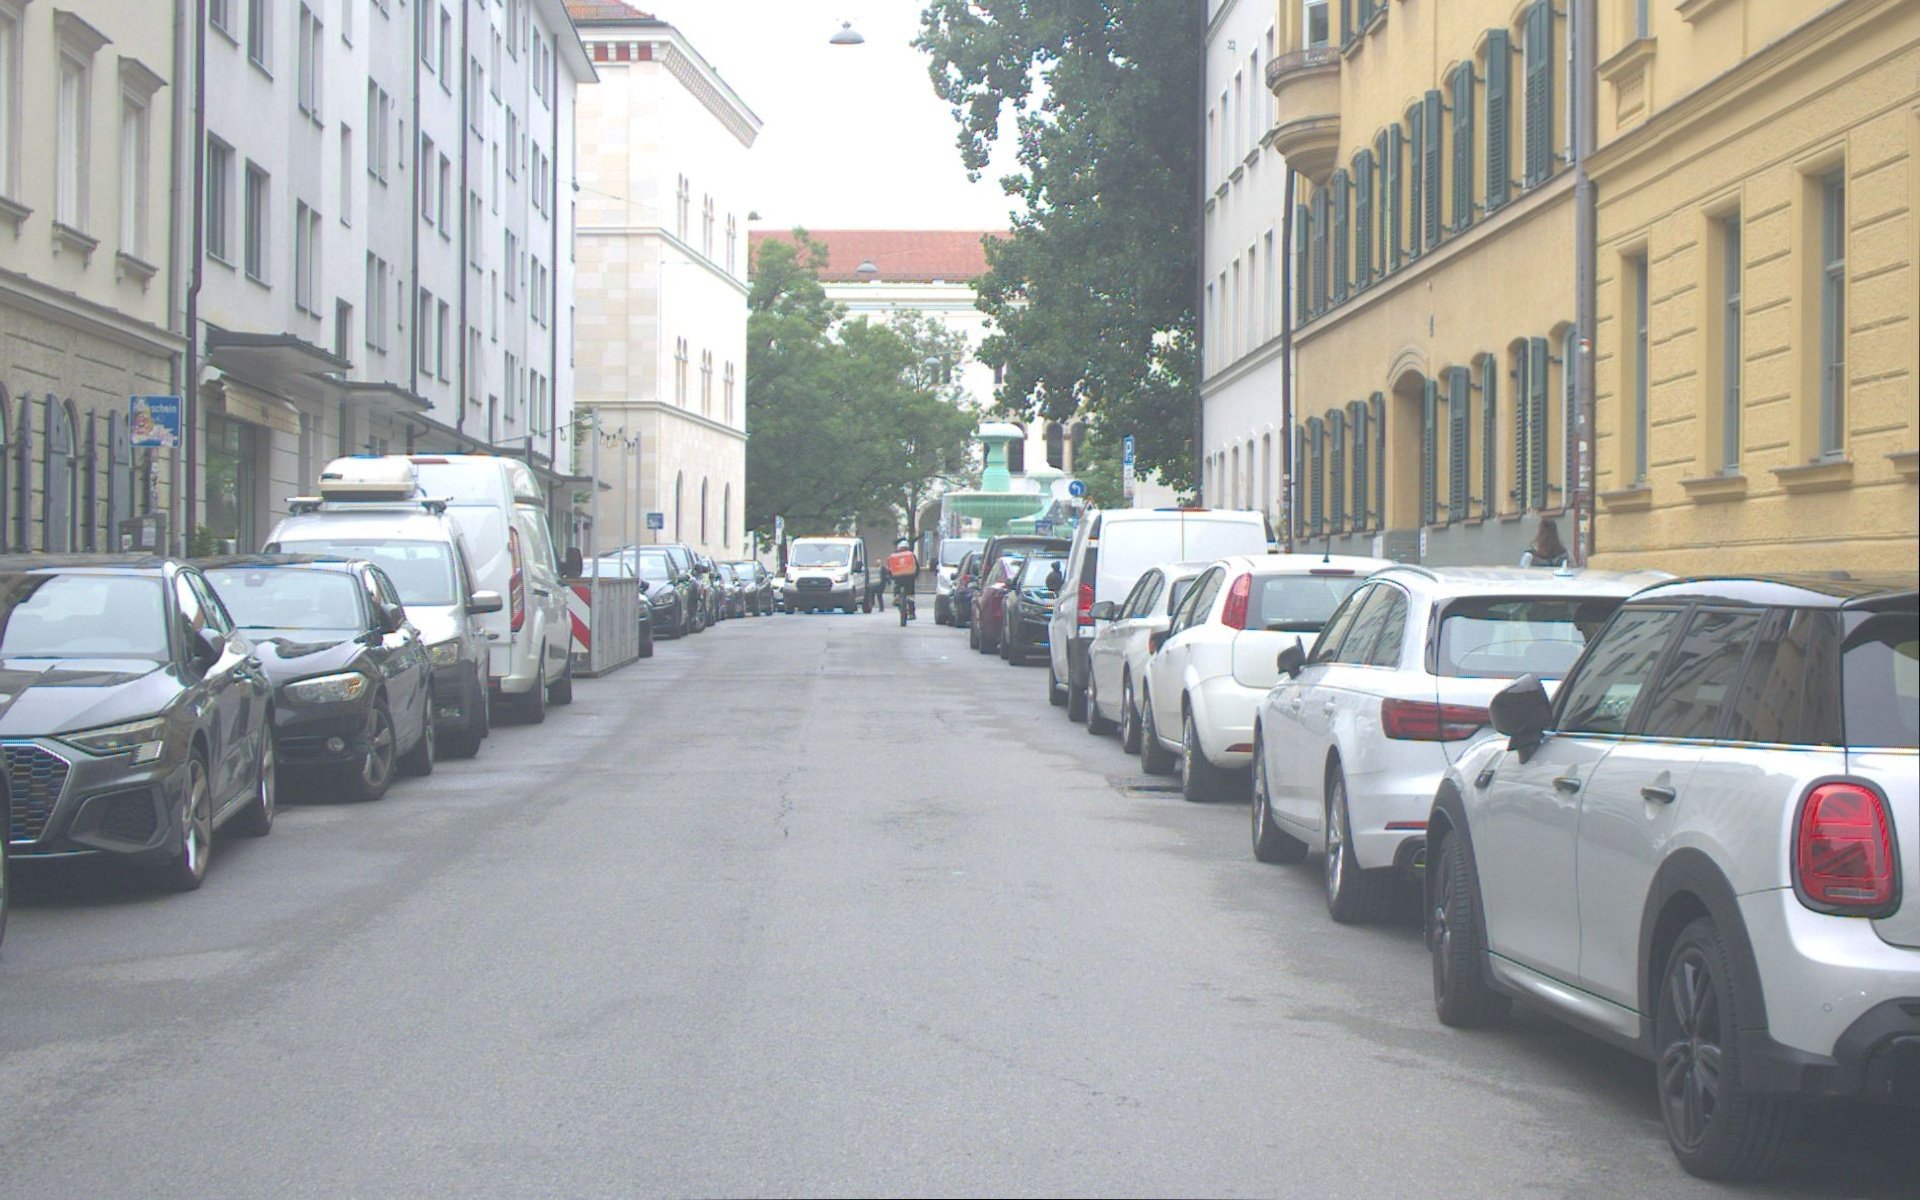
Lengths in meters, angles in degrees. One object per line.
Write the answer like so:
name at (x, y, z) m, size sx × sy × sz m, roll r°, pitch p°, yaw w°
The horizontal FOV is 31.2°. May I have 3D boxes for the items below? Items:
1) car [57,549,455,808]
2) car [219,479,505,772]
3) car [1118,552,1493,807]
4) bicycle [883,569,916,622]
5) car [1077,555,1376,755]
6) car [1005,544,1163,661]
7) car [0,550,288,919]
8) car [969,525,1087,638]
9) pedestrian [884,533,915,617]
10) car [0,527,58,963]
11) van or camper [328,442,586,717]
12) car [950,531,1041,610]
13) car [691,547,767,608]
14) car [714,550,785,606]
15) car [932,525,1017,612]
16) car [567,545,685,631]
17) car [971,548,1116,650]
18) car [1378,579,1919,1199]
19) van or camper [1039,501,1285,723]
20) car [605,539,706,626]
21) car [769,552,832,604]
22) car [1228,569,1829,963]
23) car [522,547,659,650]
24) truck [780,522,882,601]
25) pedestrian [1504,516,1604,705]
car at (-4.168, 0.408, 20.938) m, size 1.754 × 1.404 × 4.104 m, roll 1°, pitch 1°, yaw -3°
car at (-4.408, 0.150, 25.910) m, size 1.754 × 1.988 × 4.626 m, roll 1°, pitch 1°, yaw -6°
car at (2.086, 0.434, 21.823) m, size 1.708 × 1.449 × 4.097 m, roll 1°, pitch 1°, yaw -4°
bicycle at (-1.250, -0.088, 71.123) m, size 0.675 × 1.091 × 1.760 m, roll 0°, pitch 0°, yaw -1°
car at (1.957, 0.364, 26.420) m, size 1.708 × 1.388 × 4.207 m, roll 1°, pitch 1°, yaw -4°
car at (1.630, 0.015, 46.465) m, size 1.811 × 1.459 × 4.247 m, roll 2°, pitch 0°, yaw -2°
car at (-4.217, 0.510, 15.717) m, size 1.816 × 1.436 × 4.132 m, roll -1°, pitch 1°, yaw -5°
car at (1.117, -0.324, 58.535) m, size 1.811 × 1.791 × 4.247 m, roll 2°, pitch 0°, yaw -1°
pedestrian at (-1.254, -0.512, 71.186) m, size 0.642 × 1.708 × 0.843 m, roll 0°, pitch -1°, yaw -1°
car at (-4.065, 0.500, 10.540) m, size 1.754 × 1.491 × 4.201 m, roll 1°, pitch 1°, yaw -4°
van or camper at (-4.479, -0.202, 31.289) m, size 1.754 × 2.273 × 5.274 m, roll 1°, pitch 1°, yaw -2°
car at (0.723, -0.622, 72.443) m, size 1.811 × 1.609 × 4.156 m, roll 0°, pitch 0°, yaw -1°
car at (-6.226, -0.615, 92.956) m, size 1.706 × 1.604 × 3.863 m, roll 0°, pitch 1°, yaw 1°
car at (-6.048, -0.633, 99.021) m, size 1.706 × 1.576 × 3.863 m, roll 0°, pitch 1°, yaw 1°
car at (0.300, -0.723, 78.391) m, size 1.851 × 1.913 × 4.769 m, roll 0°, pitch 0°, yaw -1°
car at (-5.762, -0.223, 59.648) m, size 1.817 × 1.439 × 3.819 m, roll -1°, pitch 1°, yaw -2°
car at (1.208, -0.031, 51.548) m, size 1.811 × 1.420 × 4.247 m, roll 2°, pitch 0°, yaw -3°
car at (2.415, 0.666, 9.581) m, size 1.708 × 1.400 × 4.208 m, roll 1°, pitch 1°, yaw -4°
van or camper at (1.775, 0.068, 31.730) m, size 1.833 × 1.865 × 5.079 m, roll 1°, pitch 1°, yaw -1°
car at (-5.764, -0.345, 65.406) m, size 1.706 × 1.604 × 3.863 m, roll -1°, pitch 1°, yaw -2°
car at (-4.990, -0.695, 107.621) m, size 1.706 × 1.576 × 3.863 m, roll 0°, pitch 1°, yaw 1°
car at (2.270, 0.587, 14.996) m, size 1.708 × 1.404 × 4.815 m, roll 1°, pitch 1°, yaw -1°
car at (-5.372, -0.048, 49.584) m, size 1.761 × 1.406 × 4.157 m, roll -1°, pitch 1°, yaw -9°
truck at (-3.720, -1.089, 100.333) m, size 2.121 × 2.240 × 6.184 m, roll 0°, pitch 0°, yaw 6°
pedestrian at (5.065, 0.090, 29.328) m, size 0.660 × 1.566 × 0.642 m, roll -2°, pitch 0°, yaw -2°
